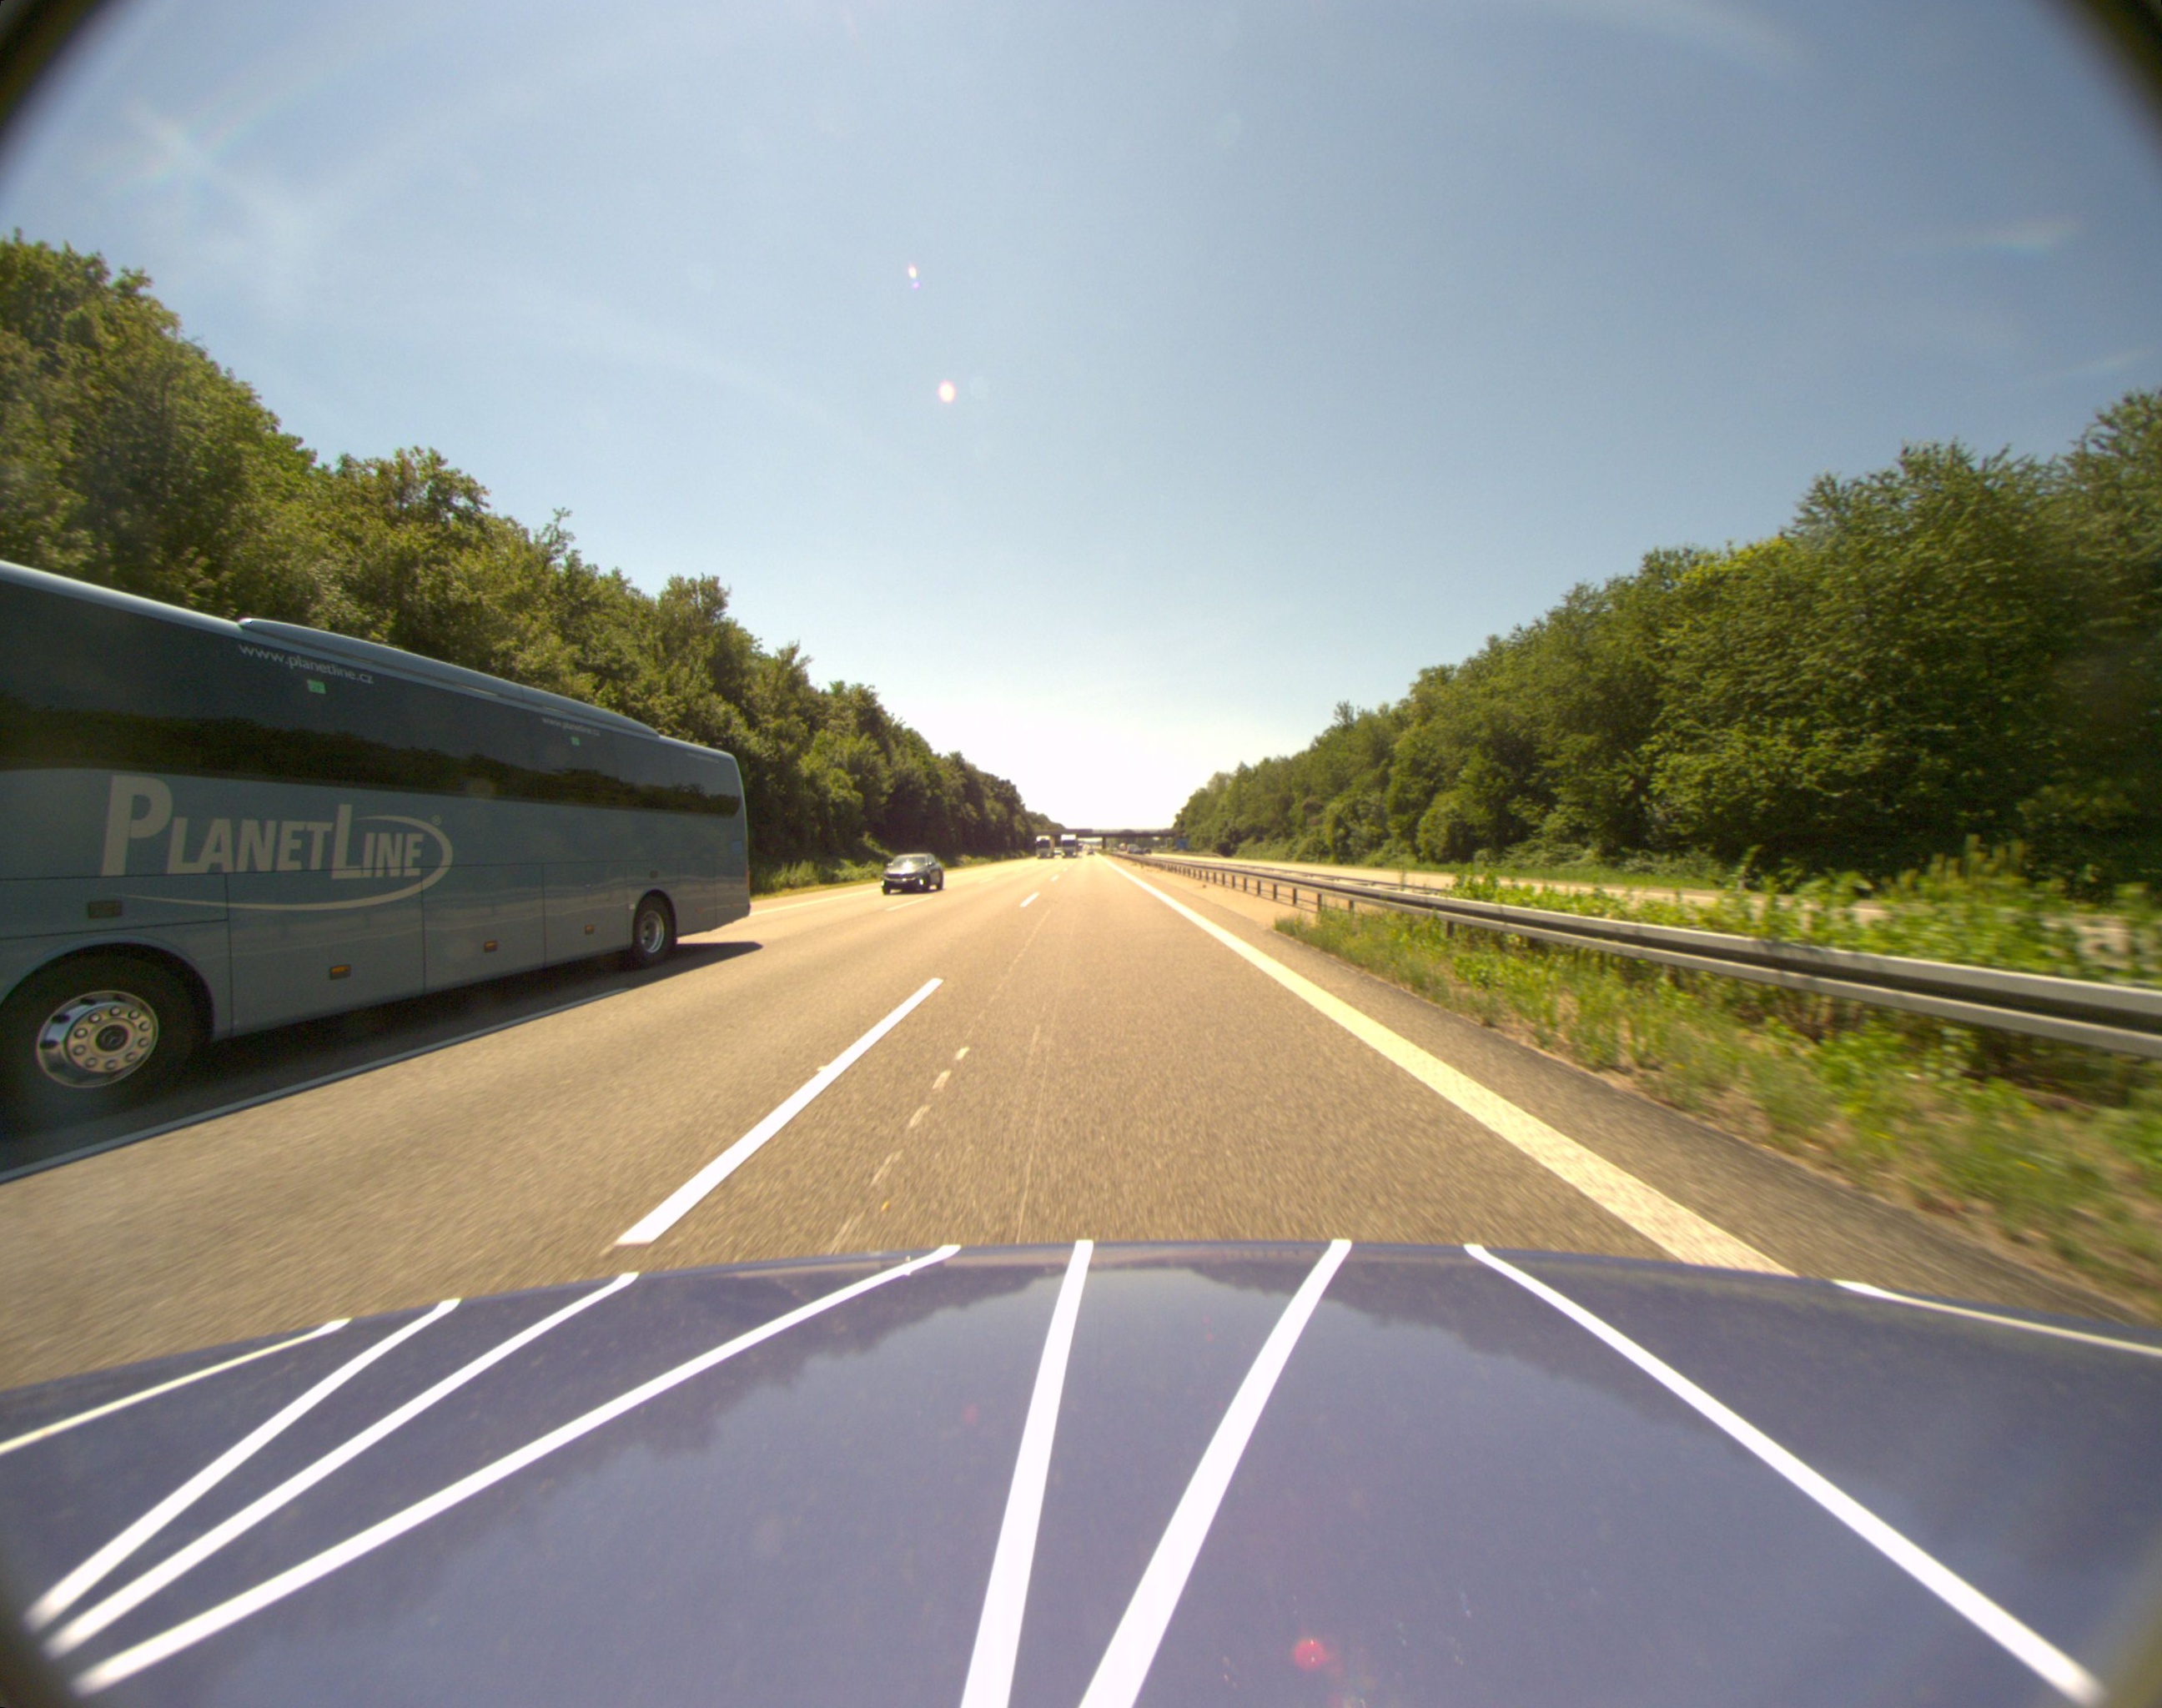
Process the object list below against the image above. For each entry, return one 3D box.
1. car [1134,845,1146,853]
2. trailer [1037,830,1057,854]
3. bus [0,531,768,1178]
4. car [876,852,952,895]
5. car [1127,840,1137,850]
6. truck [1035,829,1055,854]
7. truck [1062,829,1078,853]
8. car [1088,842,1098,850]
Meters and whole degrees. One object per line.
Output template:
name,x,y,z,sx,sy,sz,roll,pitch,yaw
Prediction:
car,11.341,-1.044,146.709,1.810,1.472,4.566,-1,1,0
trailer,-6.306,-2.179,141.828,3.047,4.200,13.833,-2,1,0
bus,-7.387,-0.015,8.121,2.809,3.576,12.471,-2,1,0
car,-6.730,0.739,31.207,1.904,1.523,4.760,-2,1,2
car,12.028,-2.173,179.897,2.092,2.275,5.276,0,1,0
truck,-6.265,-2.111,133.950,3.055,4.191,6.047,-2,1,0
truck,-1.925,-2.193,134.125,2.684,4.046,6.047,-2,1,0
car,2.782,-1.804,172.868,2.073,1.959,5.109,0,1,-1
